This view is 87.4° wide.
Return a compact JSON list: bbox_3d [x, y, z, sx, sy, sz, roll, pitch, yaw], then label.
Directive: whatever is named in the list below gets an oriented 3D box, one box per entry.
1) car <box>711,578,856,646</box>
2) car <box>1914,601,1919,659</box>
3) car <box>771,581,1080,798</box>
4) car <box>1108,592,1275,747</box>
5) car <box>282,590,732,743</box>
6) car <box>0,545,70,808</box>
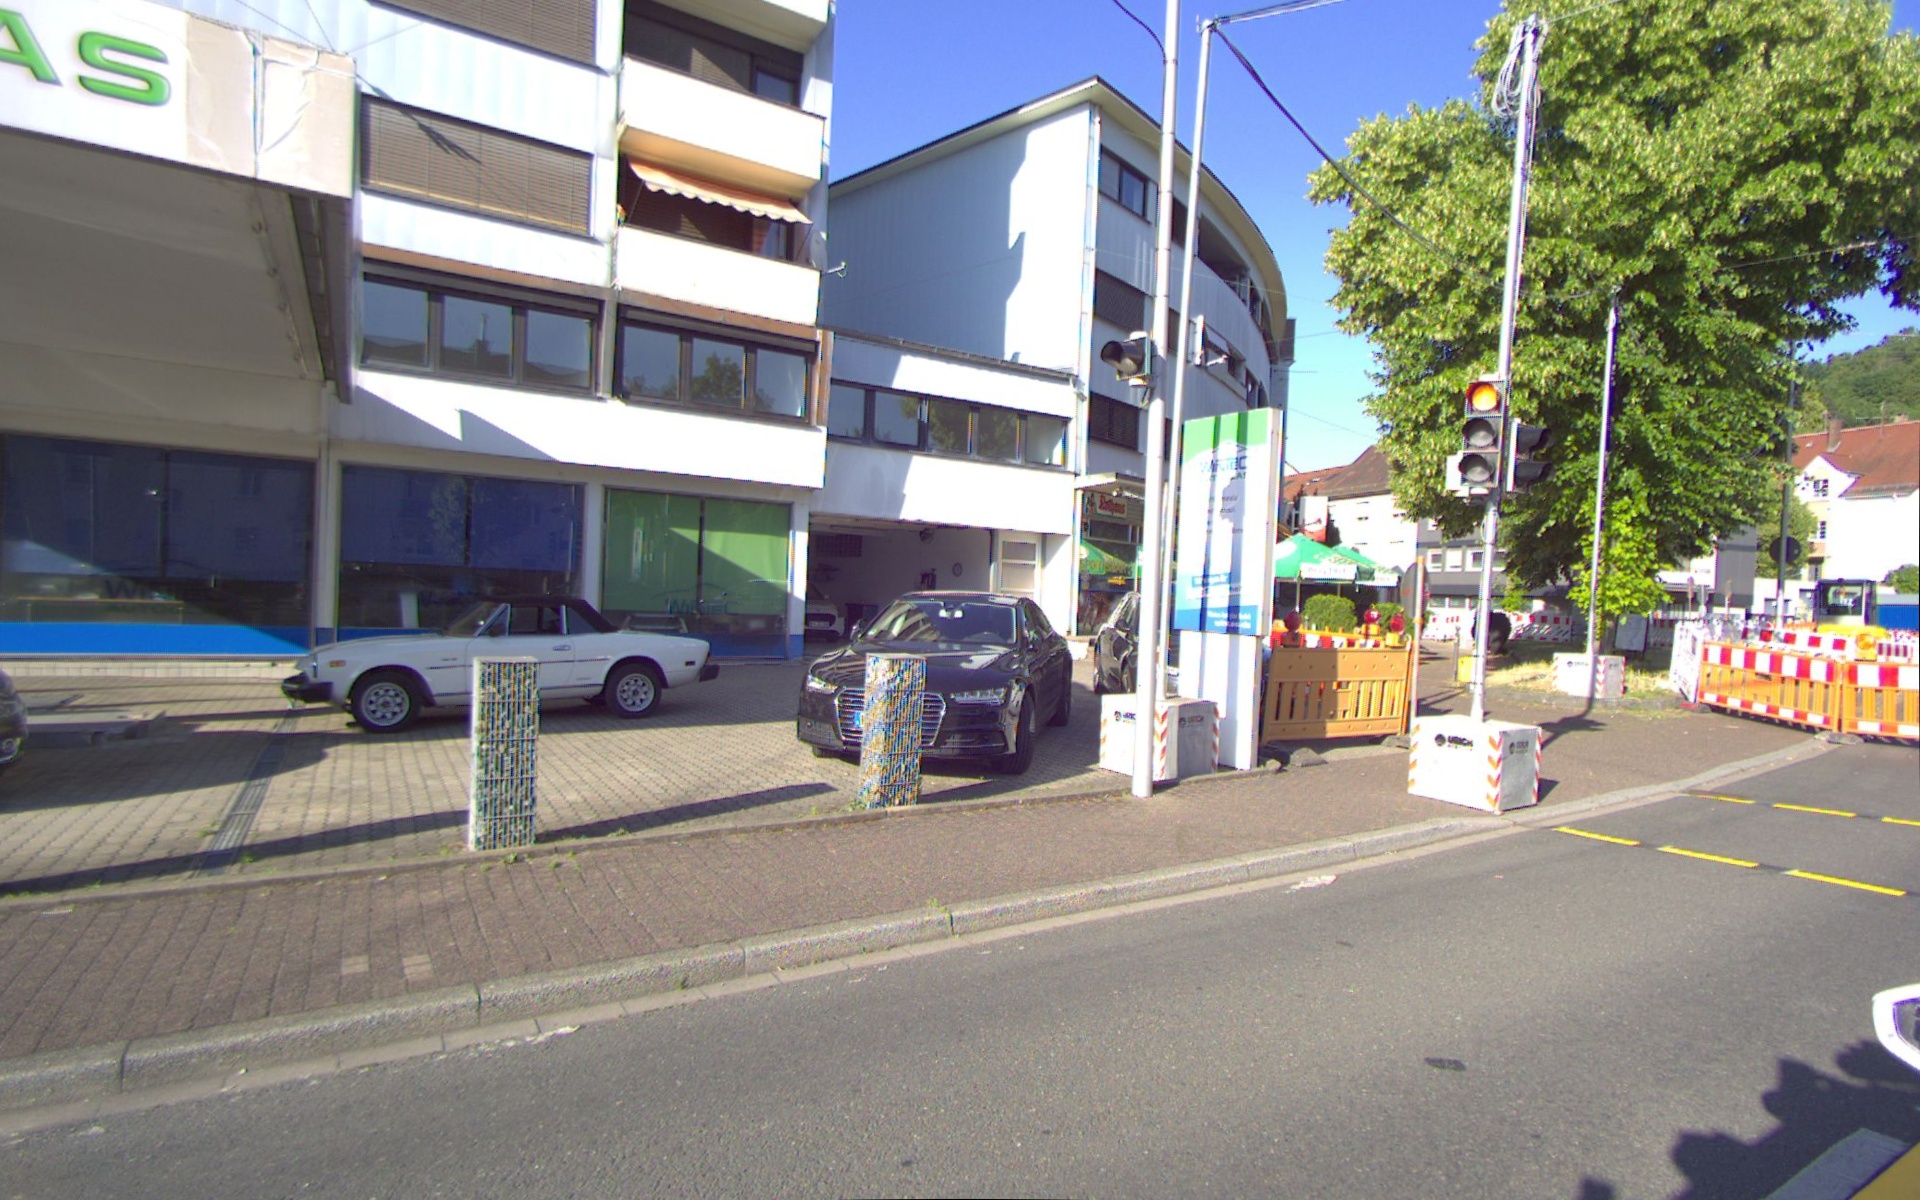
[{"bbox_3d":[-4.342,0.243,24.253,1.980,1.486,3.961,1,0,-34],"label":"car"},{"bbox_3d":[34.089,1.170,33.064,2.028,2.041,4.998,2,3,20],"label":"car"},{"bbox_3d":[-0.035,0.604,9.467,1.872,1.474,4.315,3,1,12],"label":"car"},{"bbox_3d":[2.814,0.689,12.440,1.617,1.474,4.301,3,1,12],"label":"car"},{"bbox_3d":[-4.632,0.584,10.529,4.097,1.301,1.576,0,1,-35],"label":"car"},{"bbox_3d":[-7.474,0.397,5.859,3.325,1.589,1.623,2,1,8],"label":"car"}]
